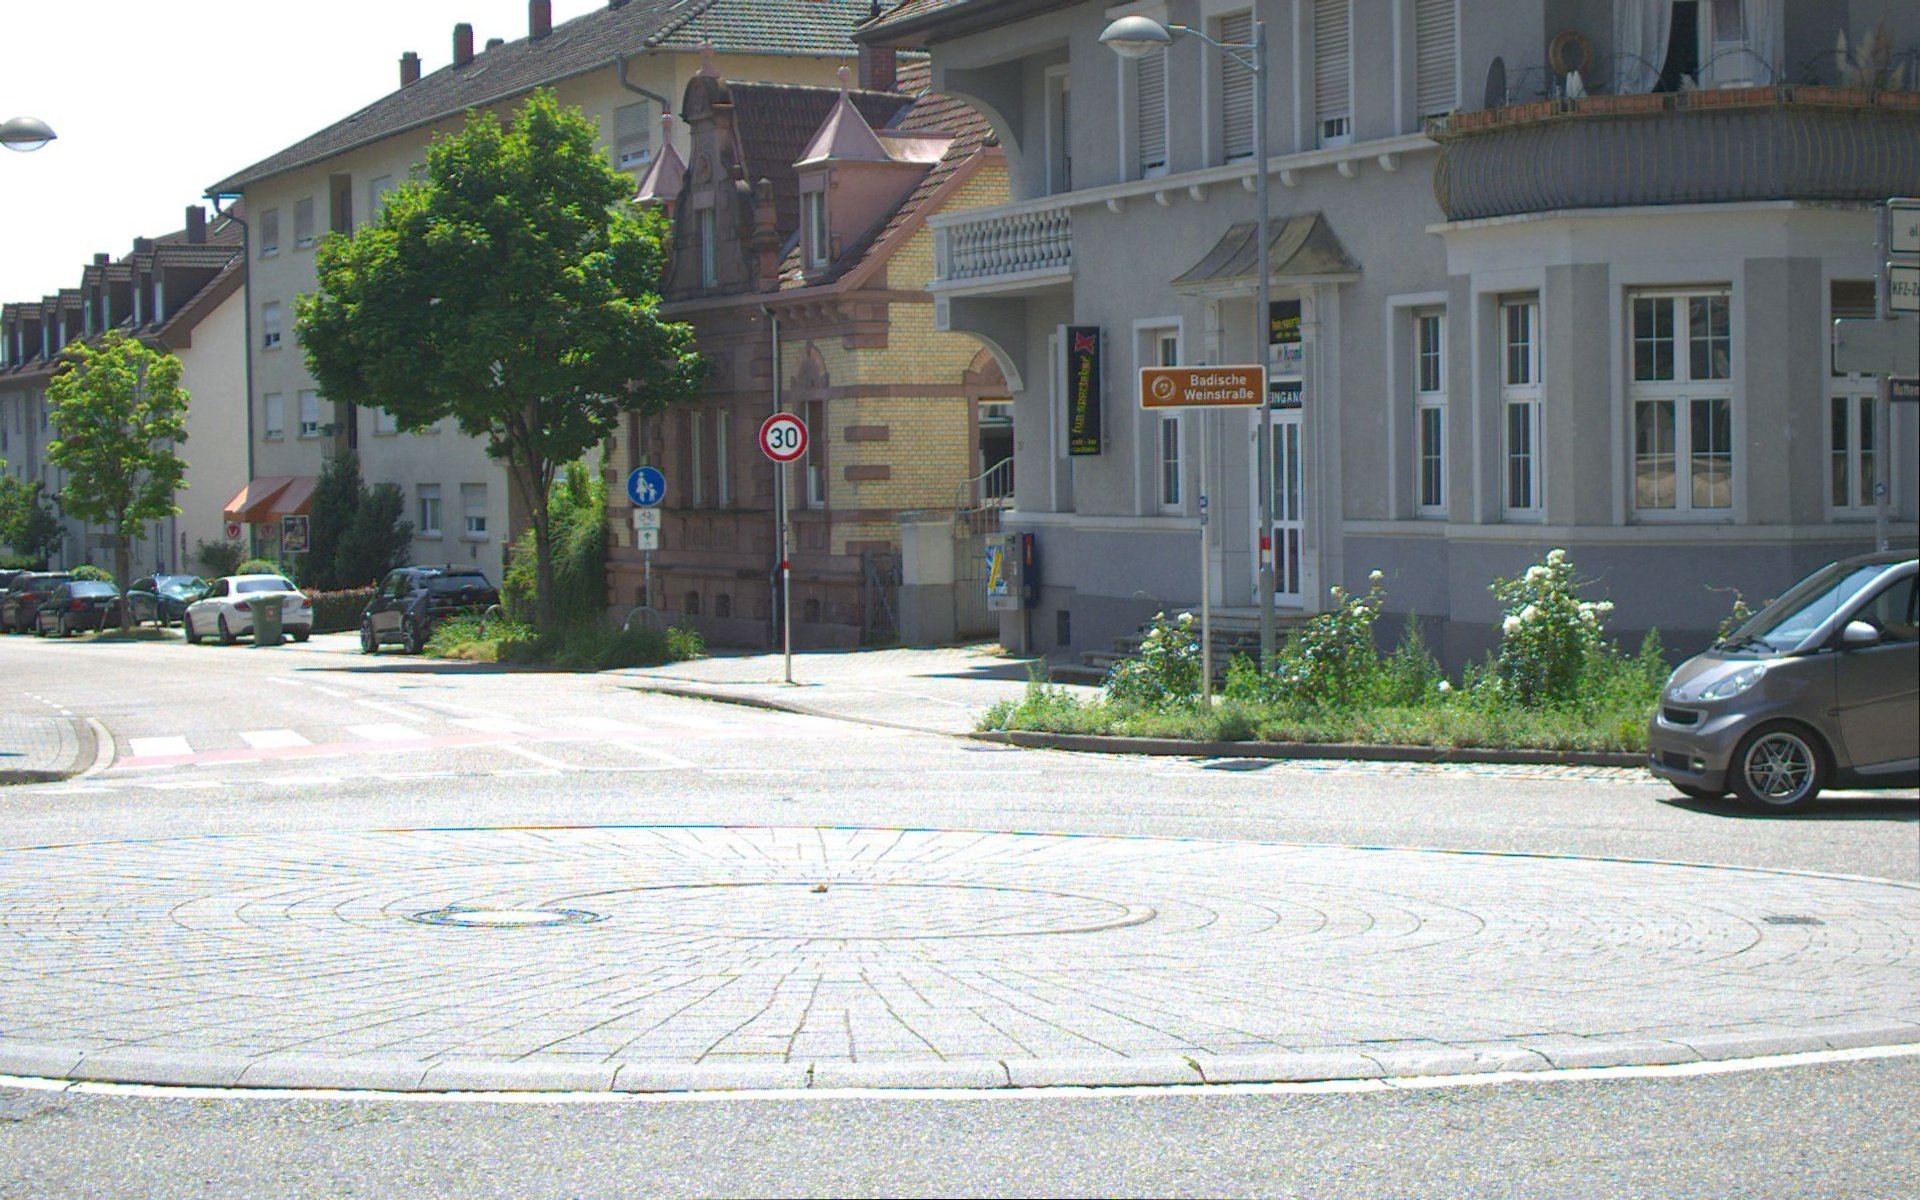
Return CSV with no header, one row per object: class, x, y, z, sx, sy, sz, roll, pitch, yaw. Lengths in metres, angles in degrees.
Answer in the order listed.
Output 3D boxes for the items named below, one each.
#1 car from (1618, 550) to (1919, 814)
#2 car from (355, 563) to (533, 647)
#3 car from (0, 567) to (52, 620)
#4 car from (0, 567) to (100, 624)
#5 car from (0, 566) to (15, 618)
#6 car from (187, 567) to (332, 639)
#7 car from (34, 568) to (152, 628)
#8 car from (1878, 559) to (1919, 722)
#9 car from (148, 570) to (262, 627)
car,5.563,0.465,20.767,2.779,1.525,1.570,0,1,-6
car,-9.628,0.065,63.873,1.993,1.504,4.420,0,1,-27
car,-27.481,-0.202,98.369,1.993,1.504,4.420,0,1,-27
car,-24.954,-0.145,93.711,1.993,1.504,4.420,0,1,-27
car,-29.697,-0.251,102.731,1.993,1.504,4.420,0,1,-27
car,-15.247,0.034,74.637,1.993,1.504,4.420,0,1,-27
car,-22.272,-0.079,88.223,1.993,1.504,4.420,0,1,-27
car,9.972,0.368,29.762,1.718,1.455,3.793,0,1,-31
car,-20.494,-0.066,93.196,1.993,1.504,4.420,0,1,-27
